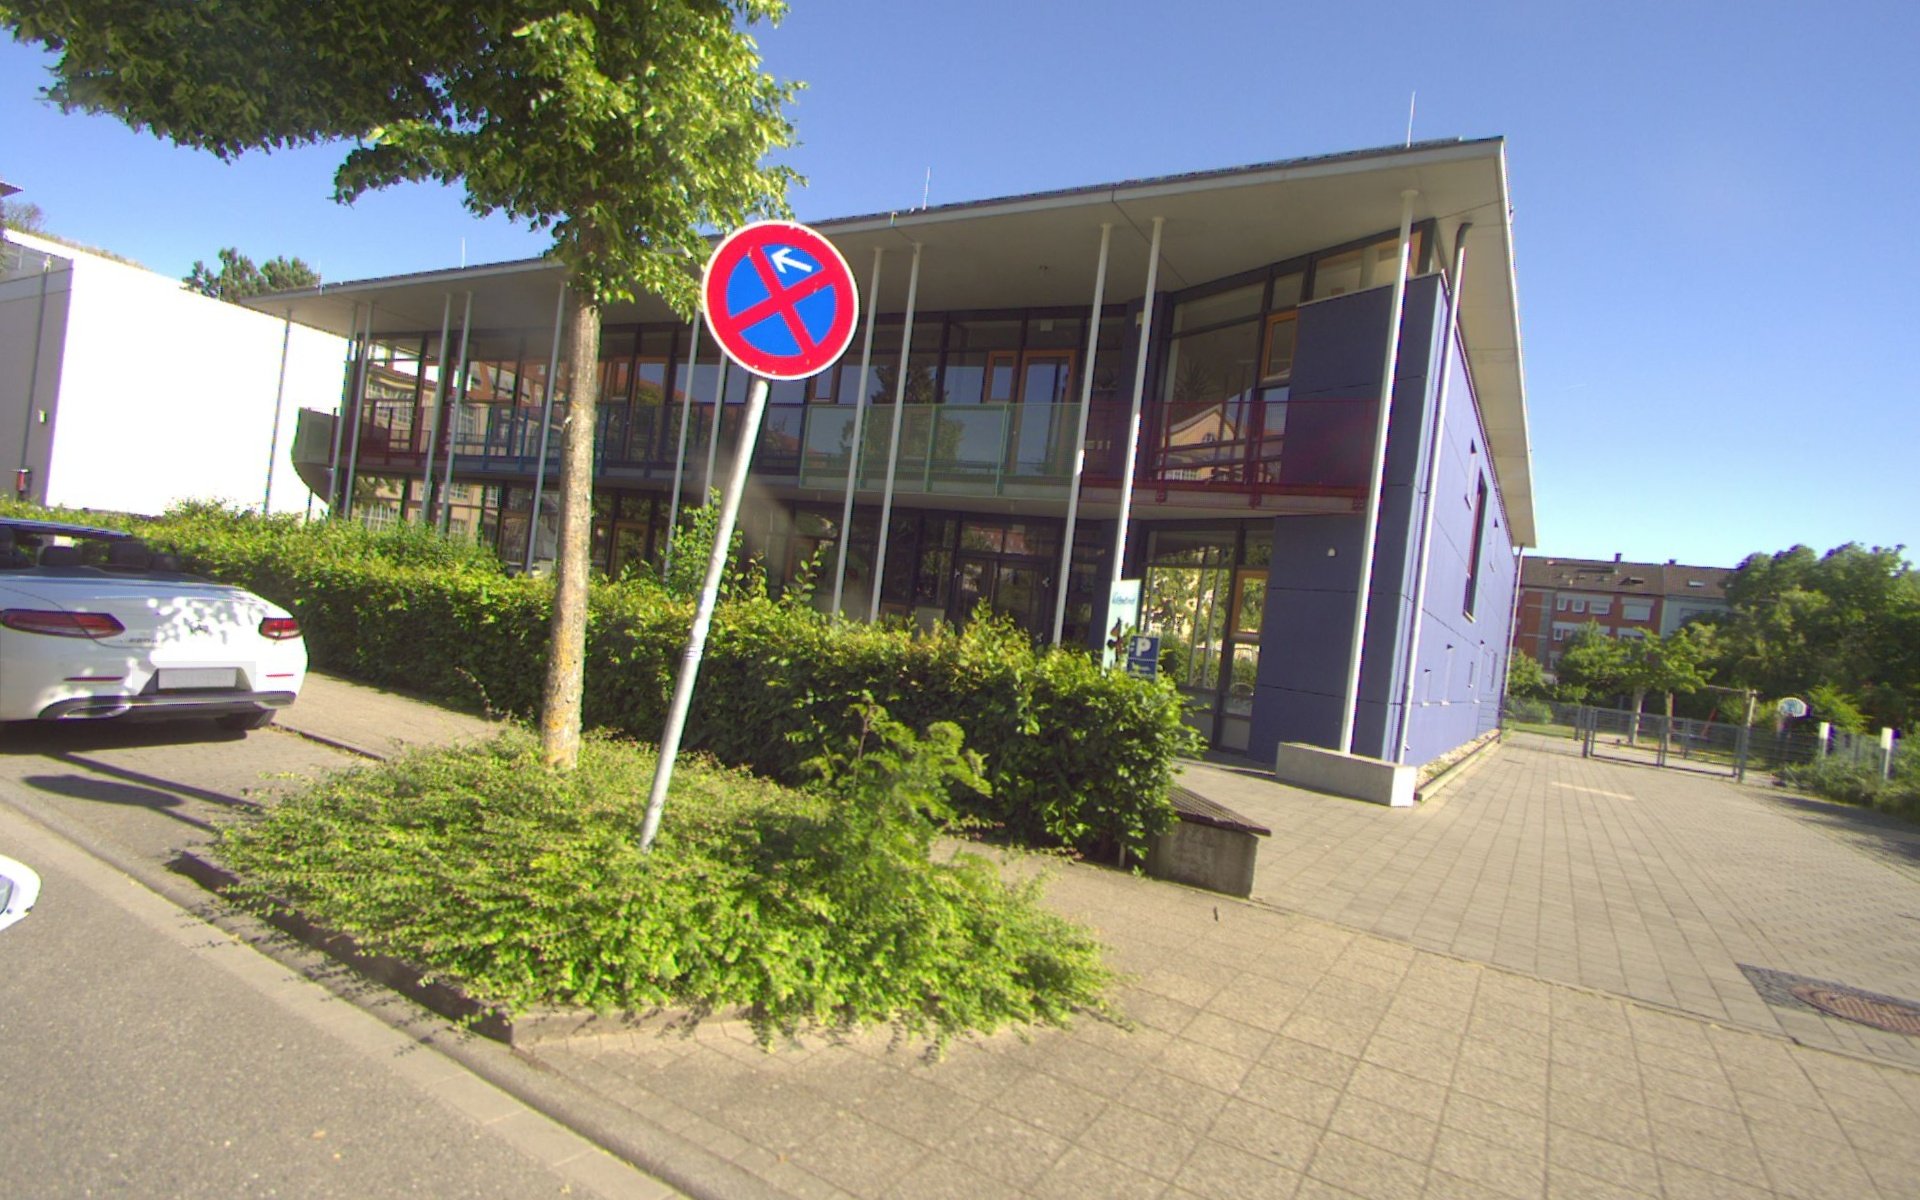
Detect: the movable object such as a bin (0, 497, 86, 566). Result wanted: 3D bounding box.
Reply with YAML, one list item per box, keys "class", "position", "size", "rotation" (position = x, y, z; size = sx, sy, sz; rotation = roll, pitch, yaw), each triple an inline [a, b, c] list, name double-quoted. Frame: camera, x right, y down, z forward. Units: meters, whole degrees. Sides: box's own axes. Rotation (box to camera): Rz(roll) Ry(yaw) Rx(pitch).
- class: "movable object such as a bin"
  position: [-21.818, -1.628, 23.686]
  size: [1.604, 1.374, 1.368]
  rotation: [7, 0, 32]

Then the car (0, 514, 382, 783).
- class: "car"
  position: [-6.651, 0.123, 7.356]
  size: [4.693, 1.337, 1.965]
  rotation: [6, 1, 28]

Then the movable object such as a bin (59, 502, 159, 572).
- class: "movable object such as a bin"
  position: [-21.039, -1.552, 24.883]
  size: [1.604, 1.466, 1.368]
  rotation: [7, 0, 32]
